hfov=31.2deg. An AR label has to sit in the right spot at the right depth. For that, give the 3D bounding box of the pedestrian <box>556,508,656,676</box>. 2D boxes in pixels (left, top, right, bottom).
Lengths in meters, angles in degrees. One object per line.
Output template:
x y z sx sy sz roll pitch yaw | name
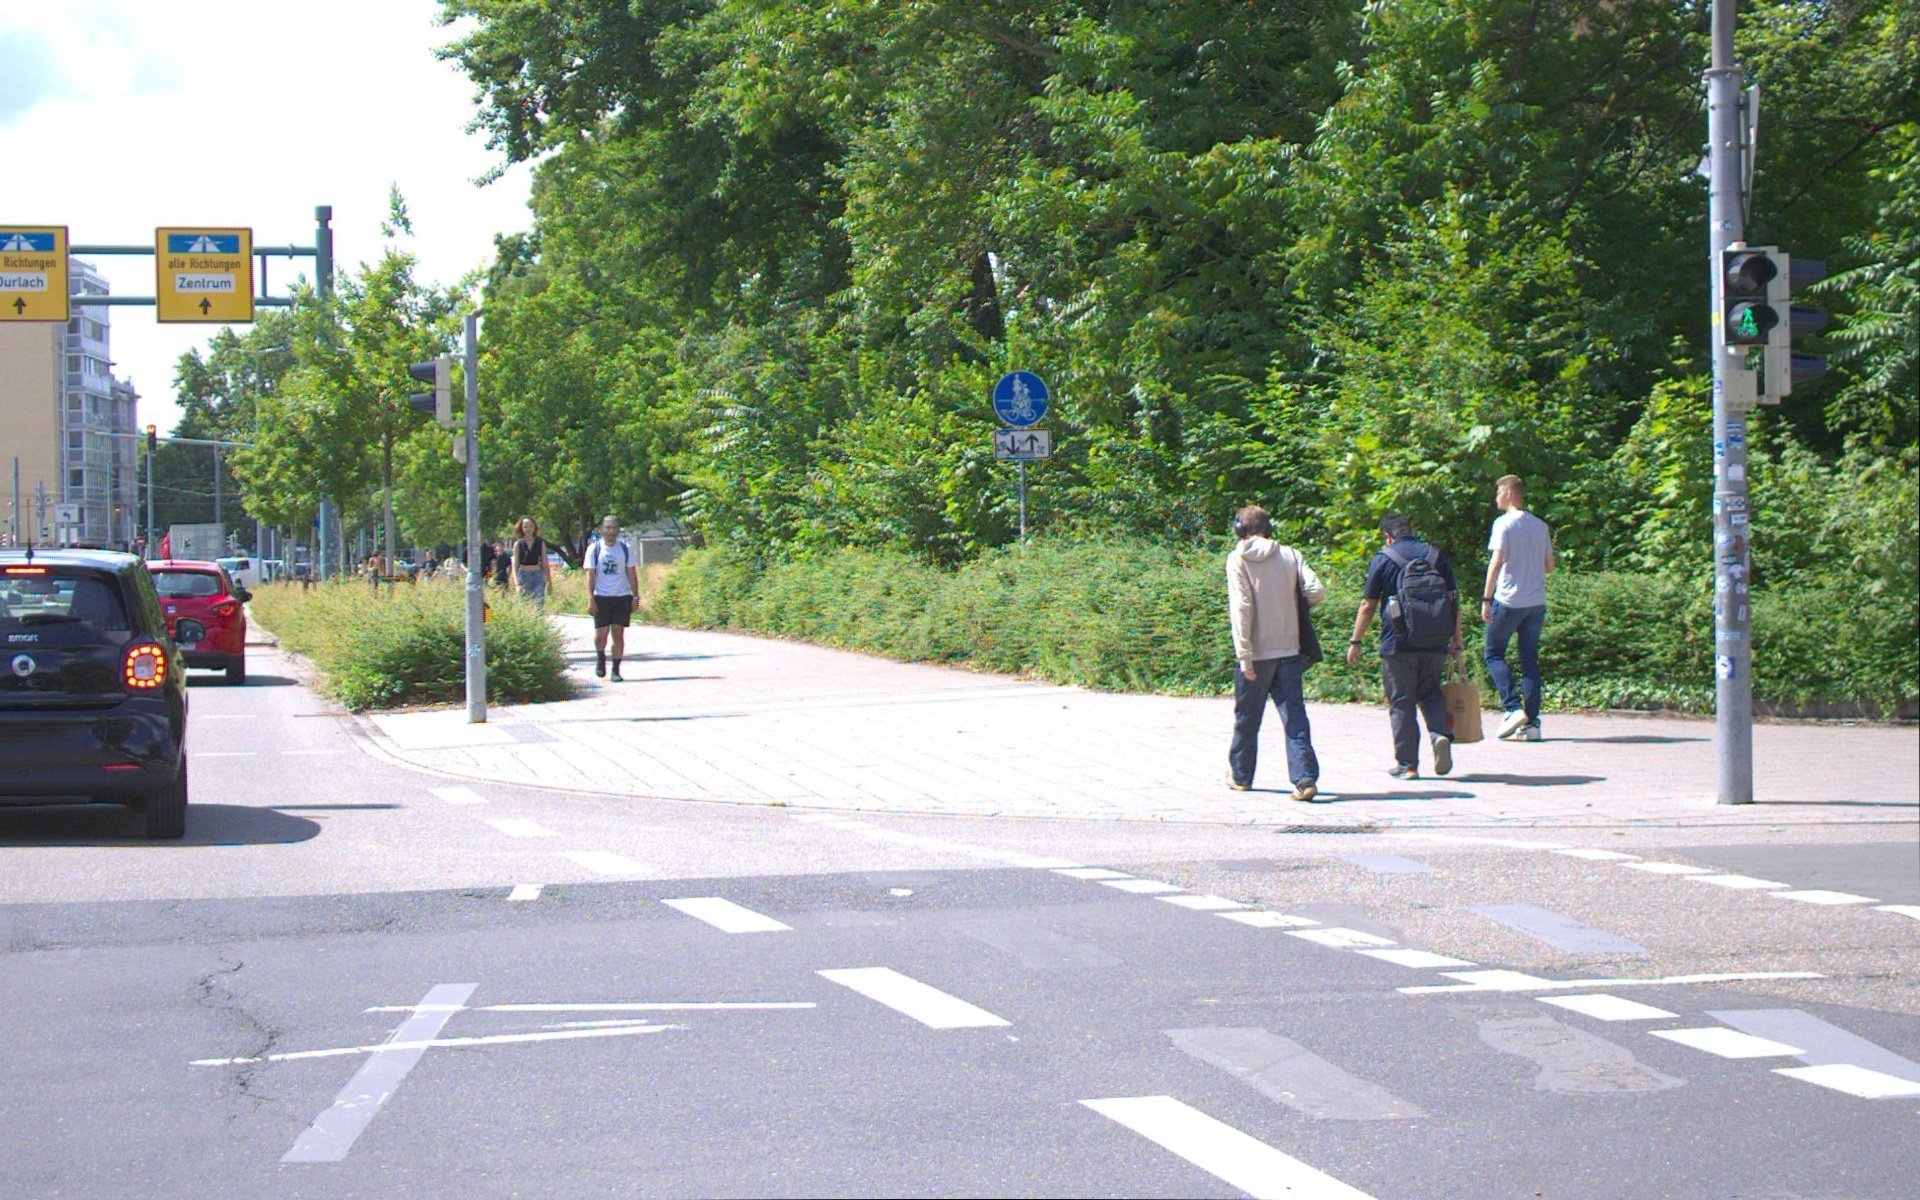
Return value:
-3.703 -0.089 35.905 0.851 1.695 0.931 -2 1 -14 | pedestrian

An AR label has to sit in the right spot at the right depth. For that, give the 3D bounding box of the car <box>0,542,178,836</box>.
-5.225 0.429 19.136 1.611 1.480 3.518 -1 1 -14 | car

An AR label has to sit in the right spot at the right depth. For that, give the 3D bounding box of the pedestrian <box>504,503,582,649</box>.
-5.407 -0.316 44.522 0.838 1.861 1.019 -1 1 -16 | pedestrian

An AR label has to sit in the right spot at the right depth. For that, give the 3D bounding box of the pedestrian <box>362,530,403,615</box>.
-13.446 -0.646 80.015 0.838 1.962 0.861 -1 1 -16 | pedestrian

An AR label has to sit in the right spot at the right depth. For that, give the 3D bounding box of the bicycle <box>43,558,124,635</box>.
-23.643 -0.107 92.667 1.993 2.007 4.001 1 0 -16 | bicycle

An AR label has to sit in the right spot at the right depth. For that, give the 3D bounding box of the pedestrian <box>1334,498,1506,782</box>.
2.821 0.223 21.203 0.795 1.698 1.183 0 2 -6 | pedestrian

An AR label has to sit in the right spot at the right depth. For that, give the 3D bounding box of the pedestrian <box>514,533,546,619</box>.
-9.492 -0.536 75.829 0.501 1.884 0.560 1 0 -30 | pedestrian

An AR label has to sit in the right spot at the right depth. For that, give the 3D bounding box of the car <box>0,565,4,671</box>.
-12.906 0.237 43.207 1.611 1.320 3.518 -1 1 -14 | car

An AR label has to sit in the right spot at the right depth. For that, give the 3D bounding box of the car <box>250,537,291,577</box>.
-34.696 -2.167 173.022 1.943 1.957 3.951 1 0 -10 | car

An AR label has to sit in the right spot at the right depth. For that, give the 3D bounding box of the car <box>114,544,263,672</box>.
-9.109 0.062 40.441 1.611 1.406 3.518 1 1 -14 | car

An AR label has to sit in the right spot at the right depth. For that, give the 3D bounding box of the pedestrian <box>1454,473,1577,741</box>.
3.809 0.036 23.629 0.670 1.814 0.703 0 1 -6 | pedestrian

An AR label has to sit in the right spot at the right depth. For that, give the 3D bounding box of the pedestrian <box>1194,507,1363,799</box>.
1.898 0.292 20.621 0.795 1.698 1.183 0 2 -6 | pedestrian

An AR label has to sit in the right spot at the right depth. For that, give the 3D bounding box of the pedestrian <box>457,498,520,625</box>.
-7.372 -0.601 53.776 0.838 1.962 0.861 -1 1 -16 | pedestrian

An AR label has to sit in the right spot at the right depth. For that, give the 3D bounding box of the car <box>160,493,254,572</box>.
-14.150 -1.268 64.494 1.611 1.406 3.518 1 1 -14 | car
